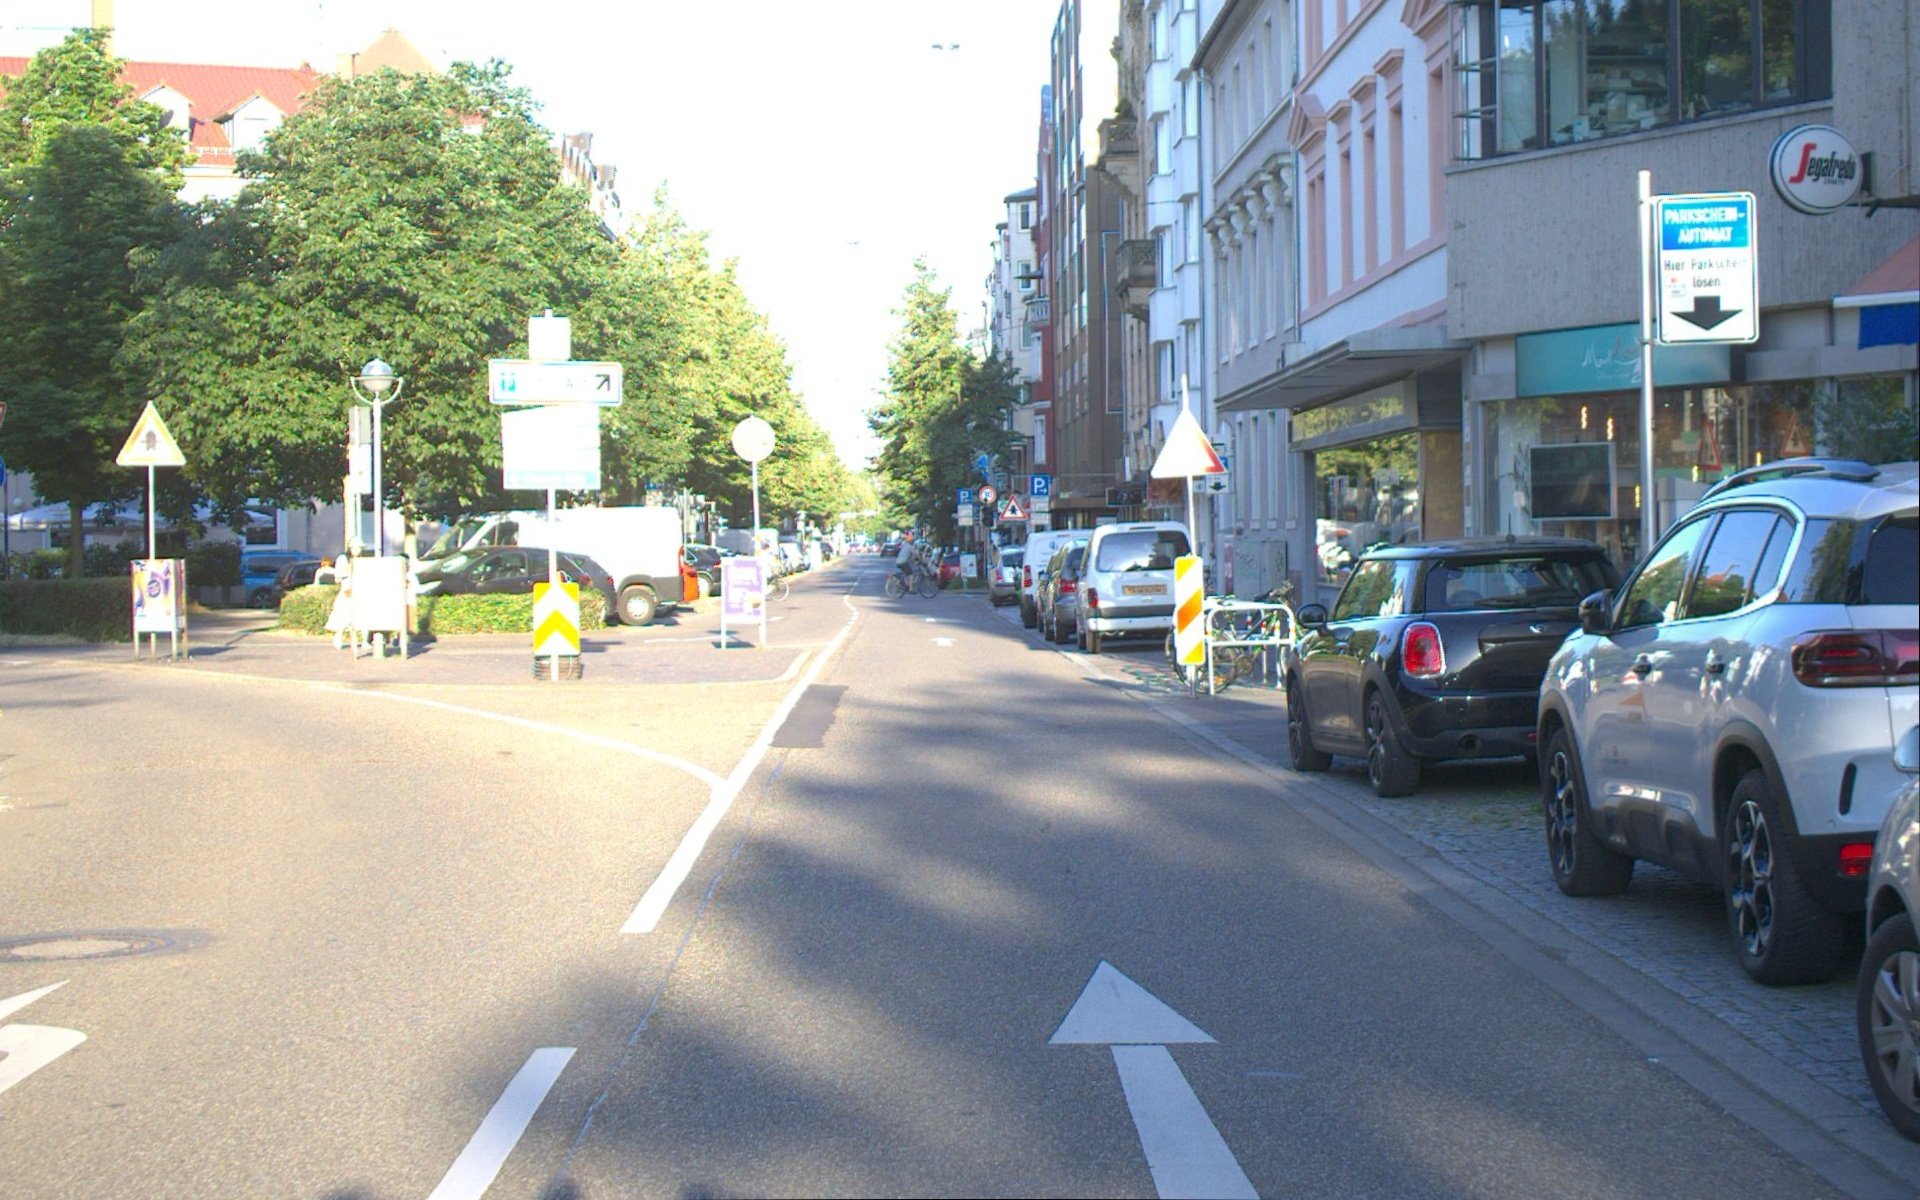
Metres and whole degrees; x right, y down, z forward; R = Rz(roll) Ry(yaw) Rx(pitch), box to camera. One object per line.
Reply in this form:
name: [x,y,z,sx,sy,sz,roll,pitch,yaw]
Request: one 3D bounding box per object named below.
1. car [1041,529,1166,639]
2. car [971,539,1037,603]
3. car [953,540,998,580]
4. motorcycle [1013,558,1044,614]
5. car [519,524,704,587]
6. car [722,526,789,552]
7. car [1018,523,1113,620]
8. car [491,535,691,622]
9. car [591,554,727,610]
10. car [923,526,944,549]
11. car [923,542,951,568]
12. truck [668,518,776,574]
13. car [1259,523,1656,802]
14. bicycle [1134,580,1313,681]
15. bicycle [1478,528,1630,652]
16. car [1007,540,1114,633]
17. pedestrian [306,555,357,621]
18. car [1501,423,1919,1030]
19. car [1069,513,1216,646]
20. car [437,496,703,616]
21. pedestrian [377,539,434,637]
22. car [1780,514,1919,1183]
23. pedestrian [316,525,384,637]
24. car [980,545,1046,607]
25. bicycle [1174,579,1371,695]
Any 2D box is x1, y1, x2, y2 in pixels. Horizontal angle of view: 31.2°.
car: [2.229,-0.278,54.233,1.656,1.659,4.108,0,1,-2]
car: [1.241,-0.845,98.165,1.696,1.763,4.001,-1,1,-2]
car: [0.623,-1.606,140.321,1.576,1.537,3.397,-3,0,-4]
motorcycle: [1.523,-0.320,76.541,0.588,1.196,2.210,0,1,-2]
car: [-8.440,-1.088,83.248,3.987,1.480,2.000,-1,1,-30]
car: [-11.637,-3.466,195.482,3.739,1.487,2.000,0,1,-1]
car: [2.025,-0.579,66.979,1.710,1.828,4.306,0,1,0]
car: [-8.119,-0.495,75.830,3.988,1.872,1.871,-1,1,-37]
car: [-10.206,-0.620,116.792,4.448,1.829,2.034,0,1,-1]
car: [-1.875,-4.397,241.667,1.308,1.594,2.661,0,0,-4]
car: [-1.153,-2.261,172.185,1.206,1.296,2.661,0,0,-4]
truck: [-11.239,-2.541,162.563,4.940,2.606,2.000,-1,1,-1]
car: [2.865,0.298,20.583,1.790,1.502,3.921,0,1,0]
bicycle: [2.840,0.327,37.066,1.789,0.986,0.541,-3,2,22]
bicycle: [6.546,-0.102,37.950,0.414,1.272,1.663,-1,-2,-43]
car: [1.735,-0.262,60.263,1.667,1.539,3.883,0,1,-1]
pedestrian: [-12.162,-0.236,66.477,0.747,1.273,0.661,0,1,-38]
car: [3.292,0.332,12.408,1.783,1.798,4.402,0,1,-3]
car: [2.548,-0.305,48.932,1.792,1.785,4.092,-1,1,-1]
car: [-7.505,-0.830,66.248,4.598,2.243,2.203,0,1,-28]
pedestrian: [-7.816,-0.170,48.455,0.562,1.359,0.614,0,1,-38]
car: [3.019,0.587,7.109,1.641,1.523,4.000,0,1,-1]
pedestrian: [-8.534,-0.268,48.096,0.697,1.553,0.694,0,1,-38]
car: [1.451,-0.660,93.153,1.680,1.556,4.000,-2,1,1]
bicycle: [3.012,0.356,33.109,1.788,0.986,0.542,-3,2,11]
